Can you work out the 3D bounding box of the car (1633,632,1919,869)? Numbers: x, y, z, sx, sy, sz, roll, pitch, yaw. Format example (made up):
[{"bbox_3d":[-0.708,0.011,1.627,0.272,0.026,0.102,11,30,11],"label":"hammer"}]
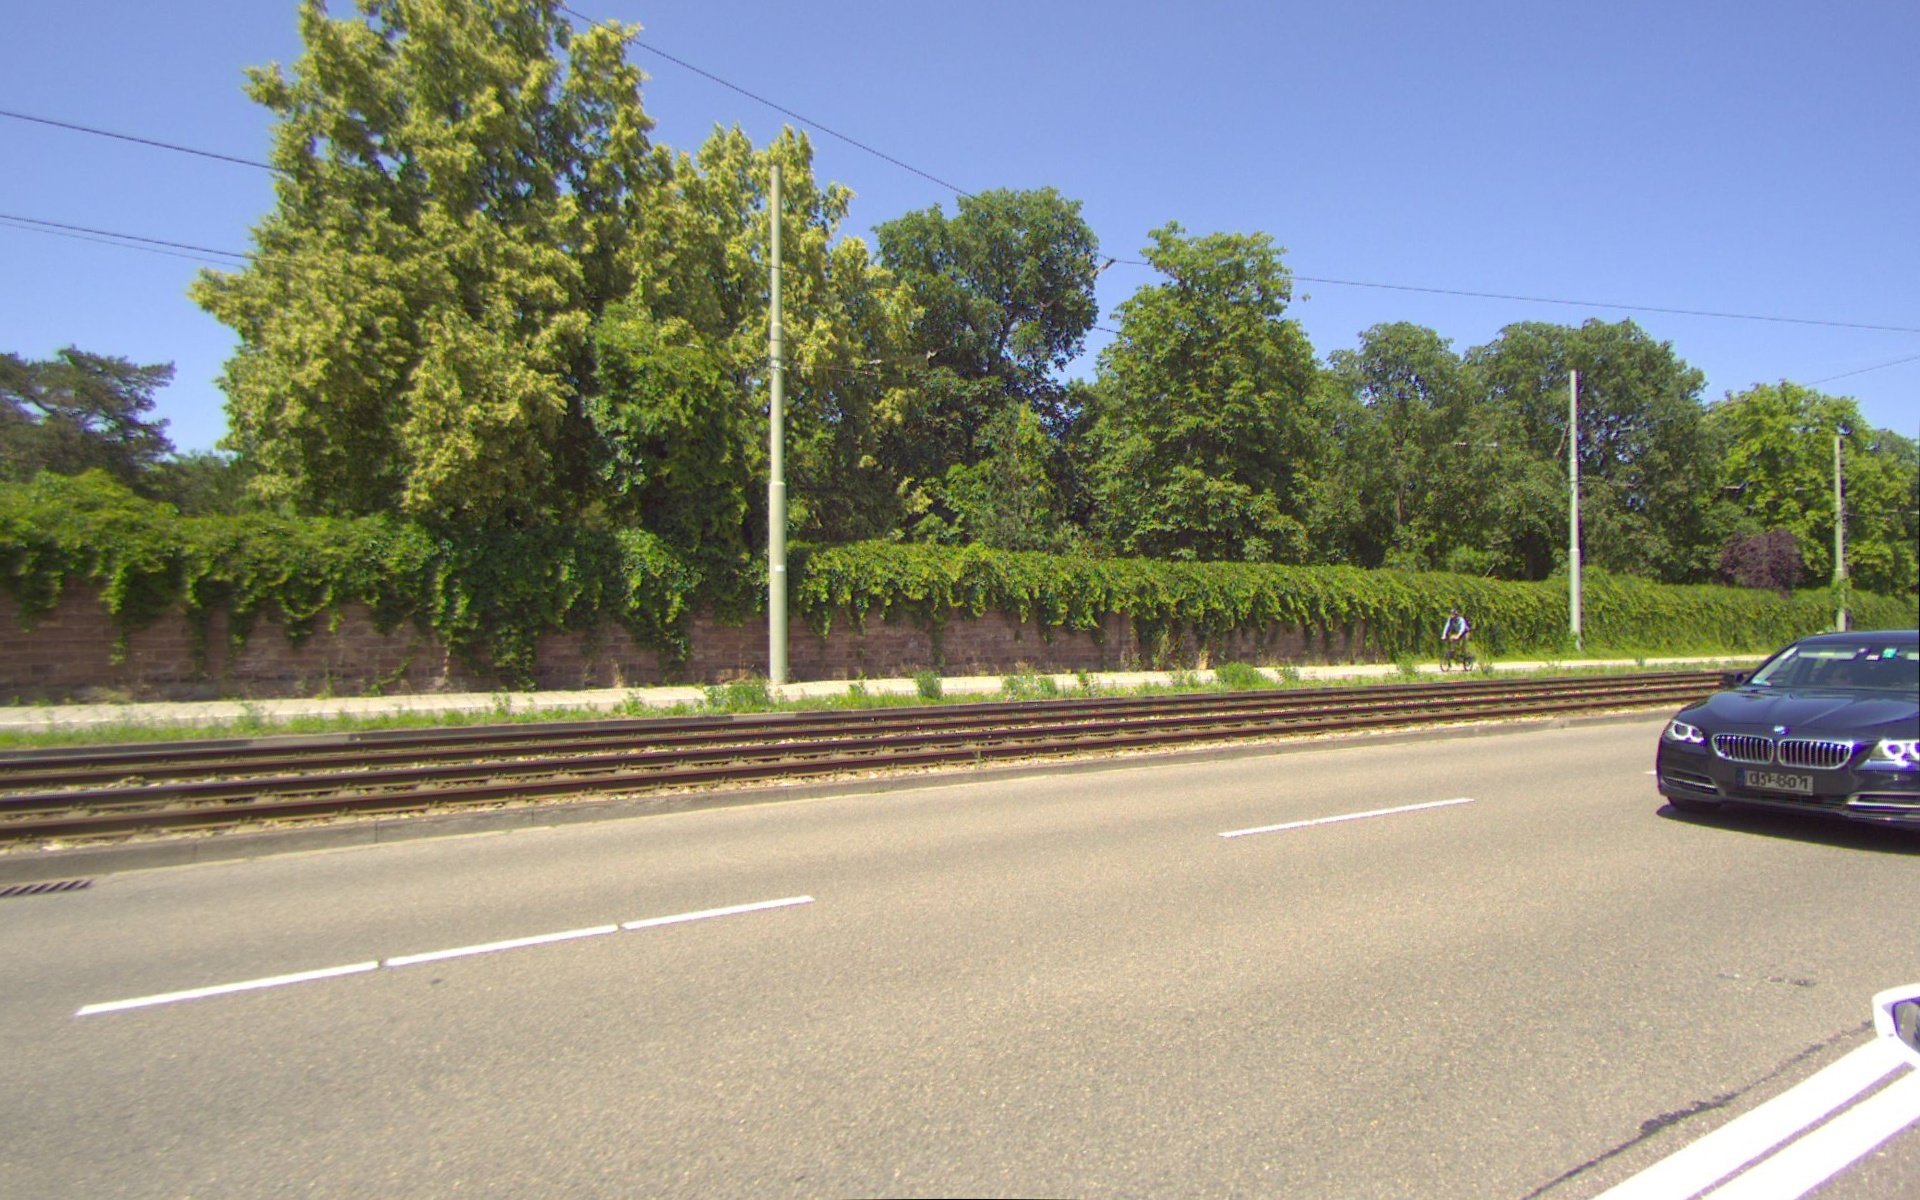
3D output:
[{"bbox_3d":[7.375,0.980,7.962,4.398,1.418,1.783,1,-1,-32],"label":"car"}]

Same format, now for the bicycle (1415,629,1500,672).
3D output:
[{"bbox_3d":[14.294,1.426,28.834,2.652,1.171,0.825,1,-1,-29],"label":"bicycle"}]

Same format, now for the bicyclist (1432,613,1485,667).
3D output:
[{"bbox_3d":[14.292,1.134,28.813,0.988,1.506,0.990,1,-1,-28],"label":"bicyclist"}]
